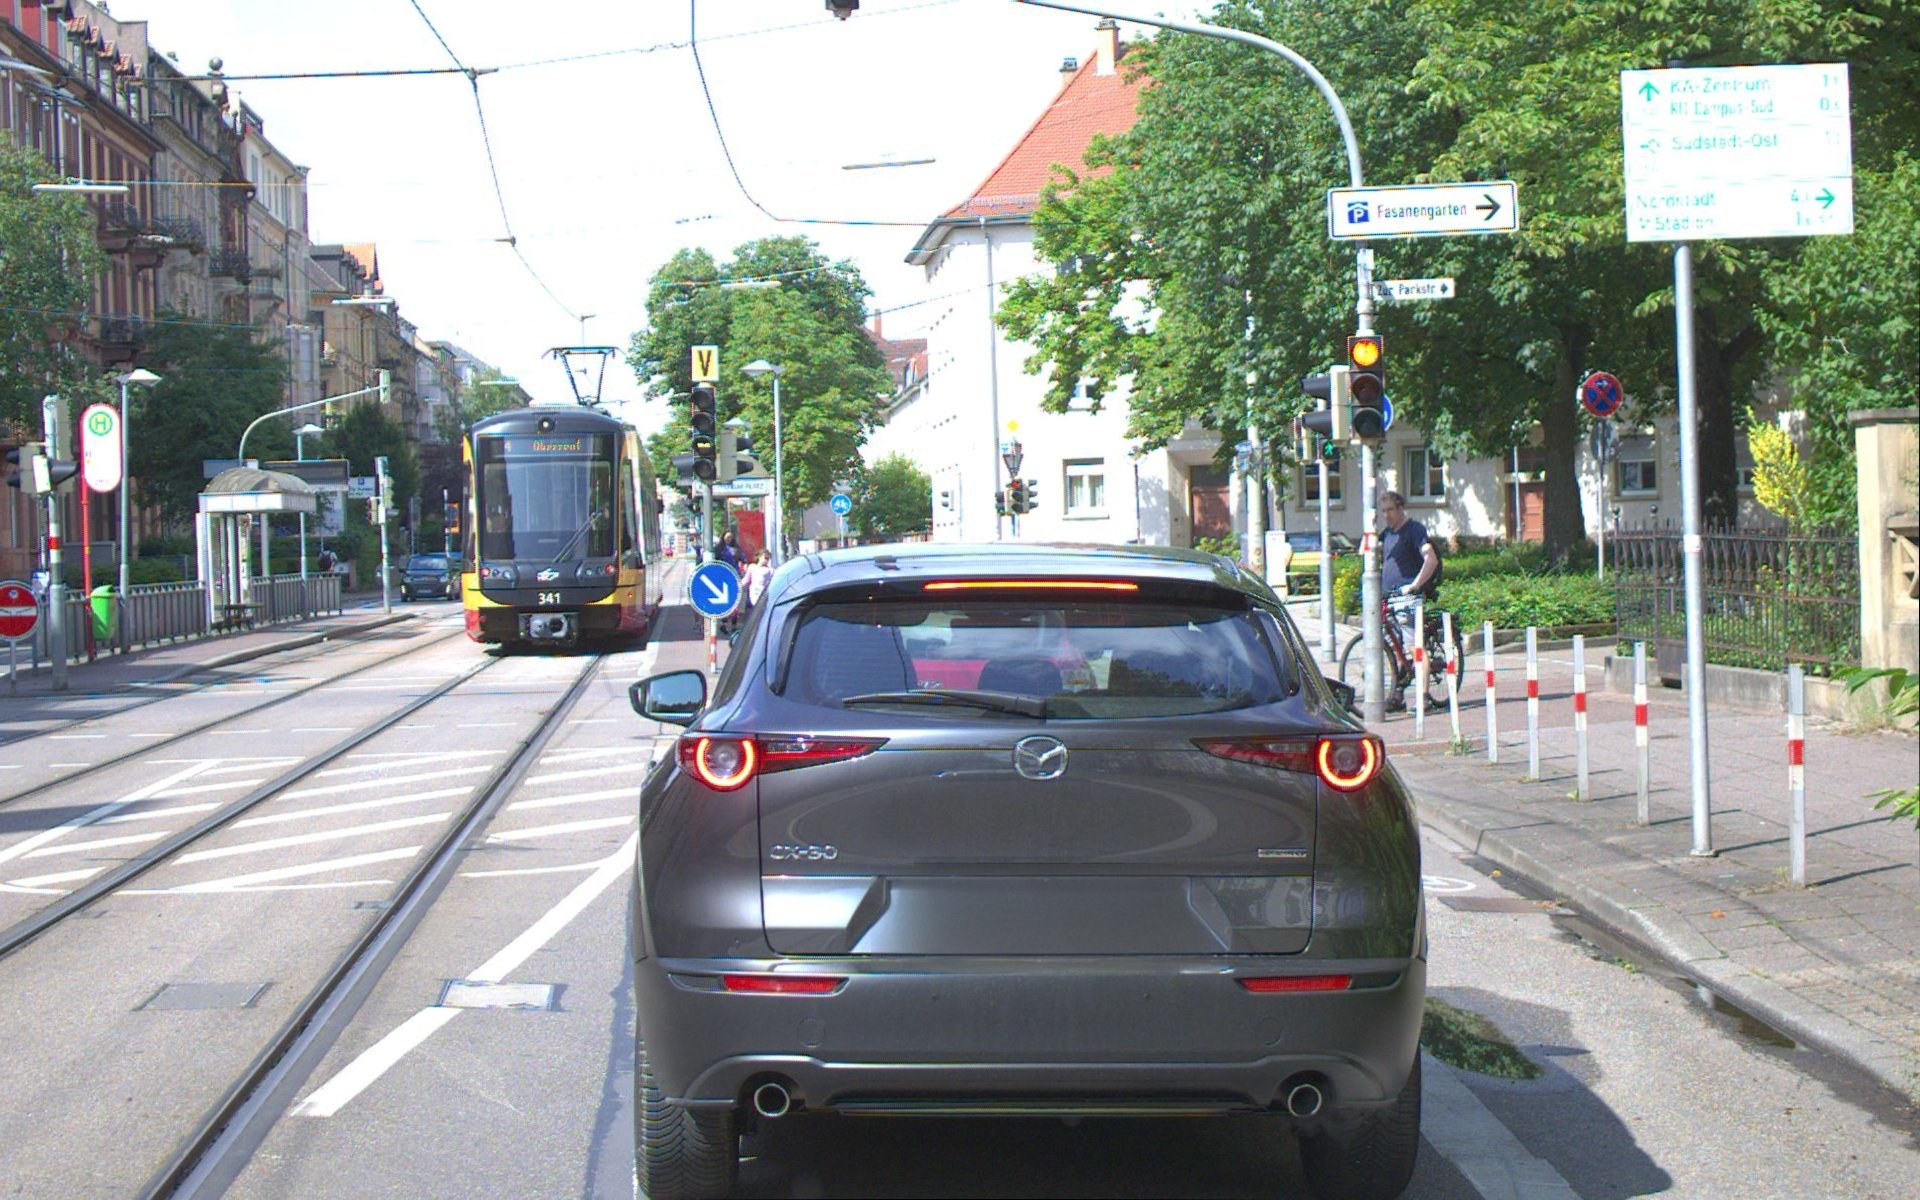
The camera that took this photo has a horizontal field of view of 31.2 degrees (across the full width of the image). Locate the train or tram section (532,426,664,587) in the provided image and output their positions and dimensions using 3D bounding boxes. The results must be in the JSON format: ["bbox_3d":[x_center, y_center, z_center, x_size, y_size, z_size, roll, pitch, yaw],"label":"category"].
[{"bbox_3d":[-8.579,-2.310,82.786,2.752,3.478,14.411,-2,2,-5],"label":"train or tram section"}]

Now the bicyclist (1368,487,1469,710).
[{"bbox_3d":[3.749,-0.017,28.154,0.608,1.786,0.658,-2,1,-10],"label":"bicyclist"}]

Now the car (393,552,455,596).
[{"bbox_3d":[-16.826,-0.844,108.054,1.614,1.305,3.628,-1,1,-4],"label":"car"}]

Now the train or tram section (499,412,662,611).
[{"bbox_3d":[-7.378,-1.822,68.421,2.752,3.478,14.411,-2,2,-5],"label":"train or tram section"}]

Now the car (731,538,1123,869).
[{"bbox_3d":[-0.193,0.438,17.724,1.778,1.494,4.000,1,1,-1],"label":"car"}]

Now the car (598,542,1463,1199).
[{"bbox_3d":[0.105,0.609,9.119,1.778,1.494,4.000,1,1,-1],"label":"car"}]

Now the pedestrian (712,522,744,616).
[{"bbox_3d":[-3.580,-0.477,53.017,0.450,1.429,0.474,-2,1,-5],"label":"pedestrian"}]

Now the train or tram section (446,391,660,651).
[{"bbox_3d":[-6.176,-1.323,54.056,2.752,3.478,14.411,-2,2,-5],"label":"train or tram section"}]

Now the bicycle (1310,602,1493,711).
[{"bbox_3d":[3.660,0.454,28.436,1.694,0.821,0.494,-2,1,-42],"label":"bicycle"}]

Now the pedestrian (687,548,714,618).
[{"bbox_3d":[-3.988,-0.268,52.904,0.379,1.067,0.474,-2,1,-5],"label":"pedestrian"}]
